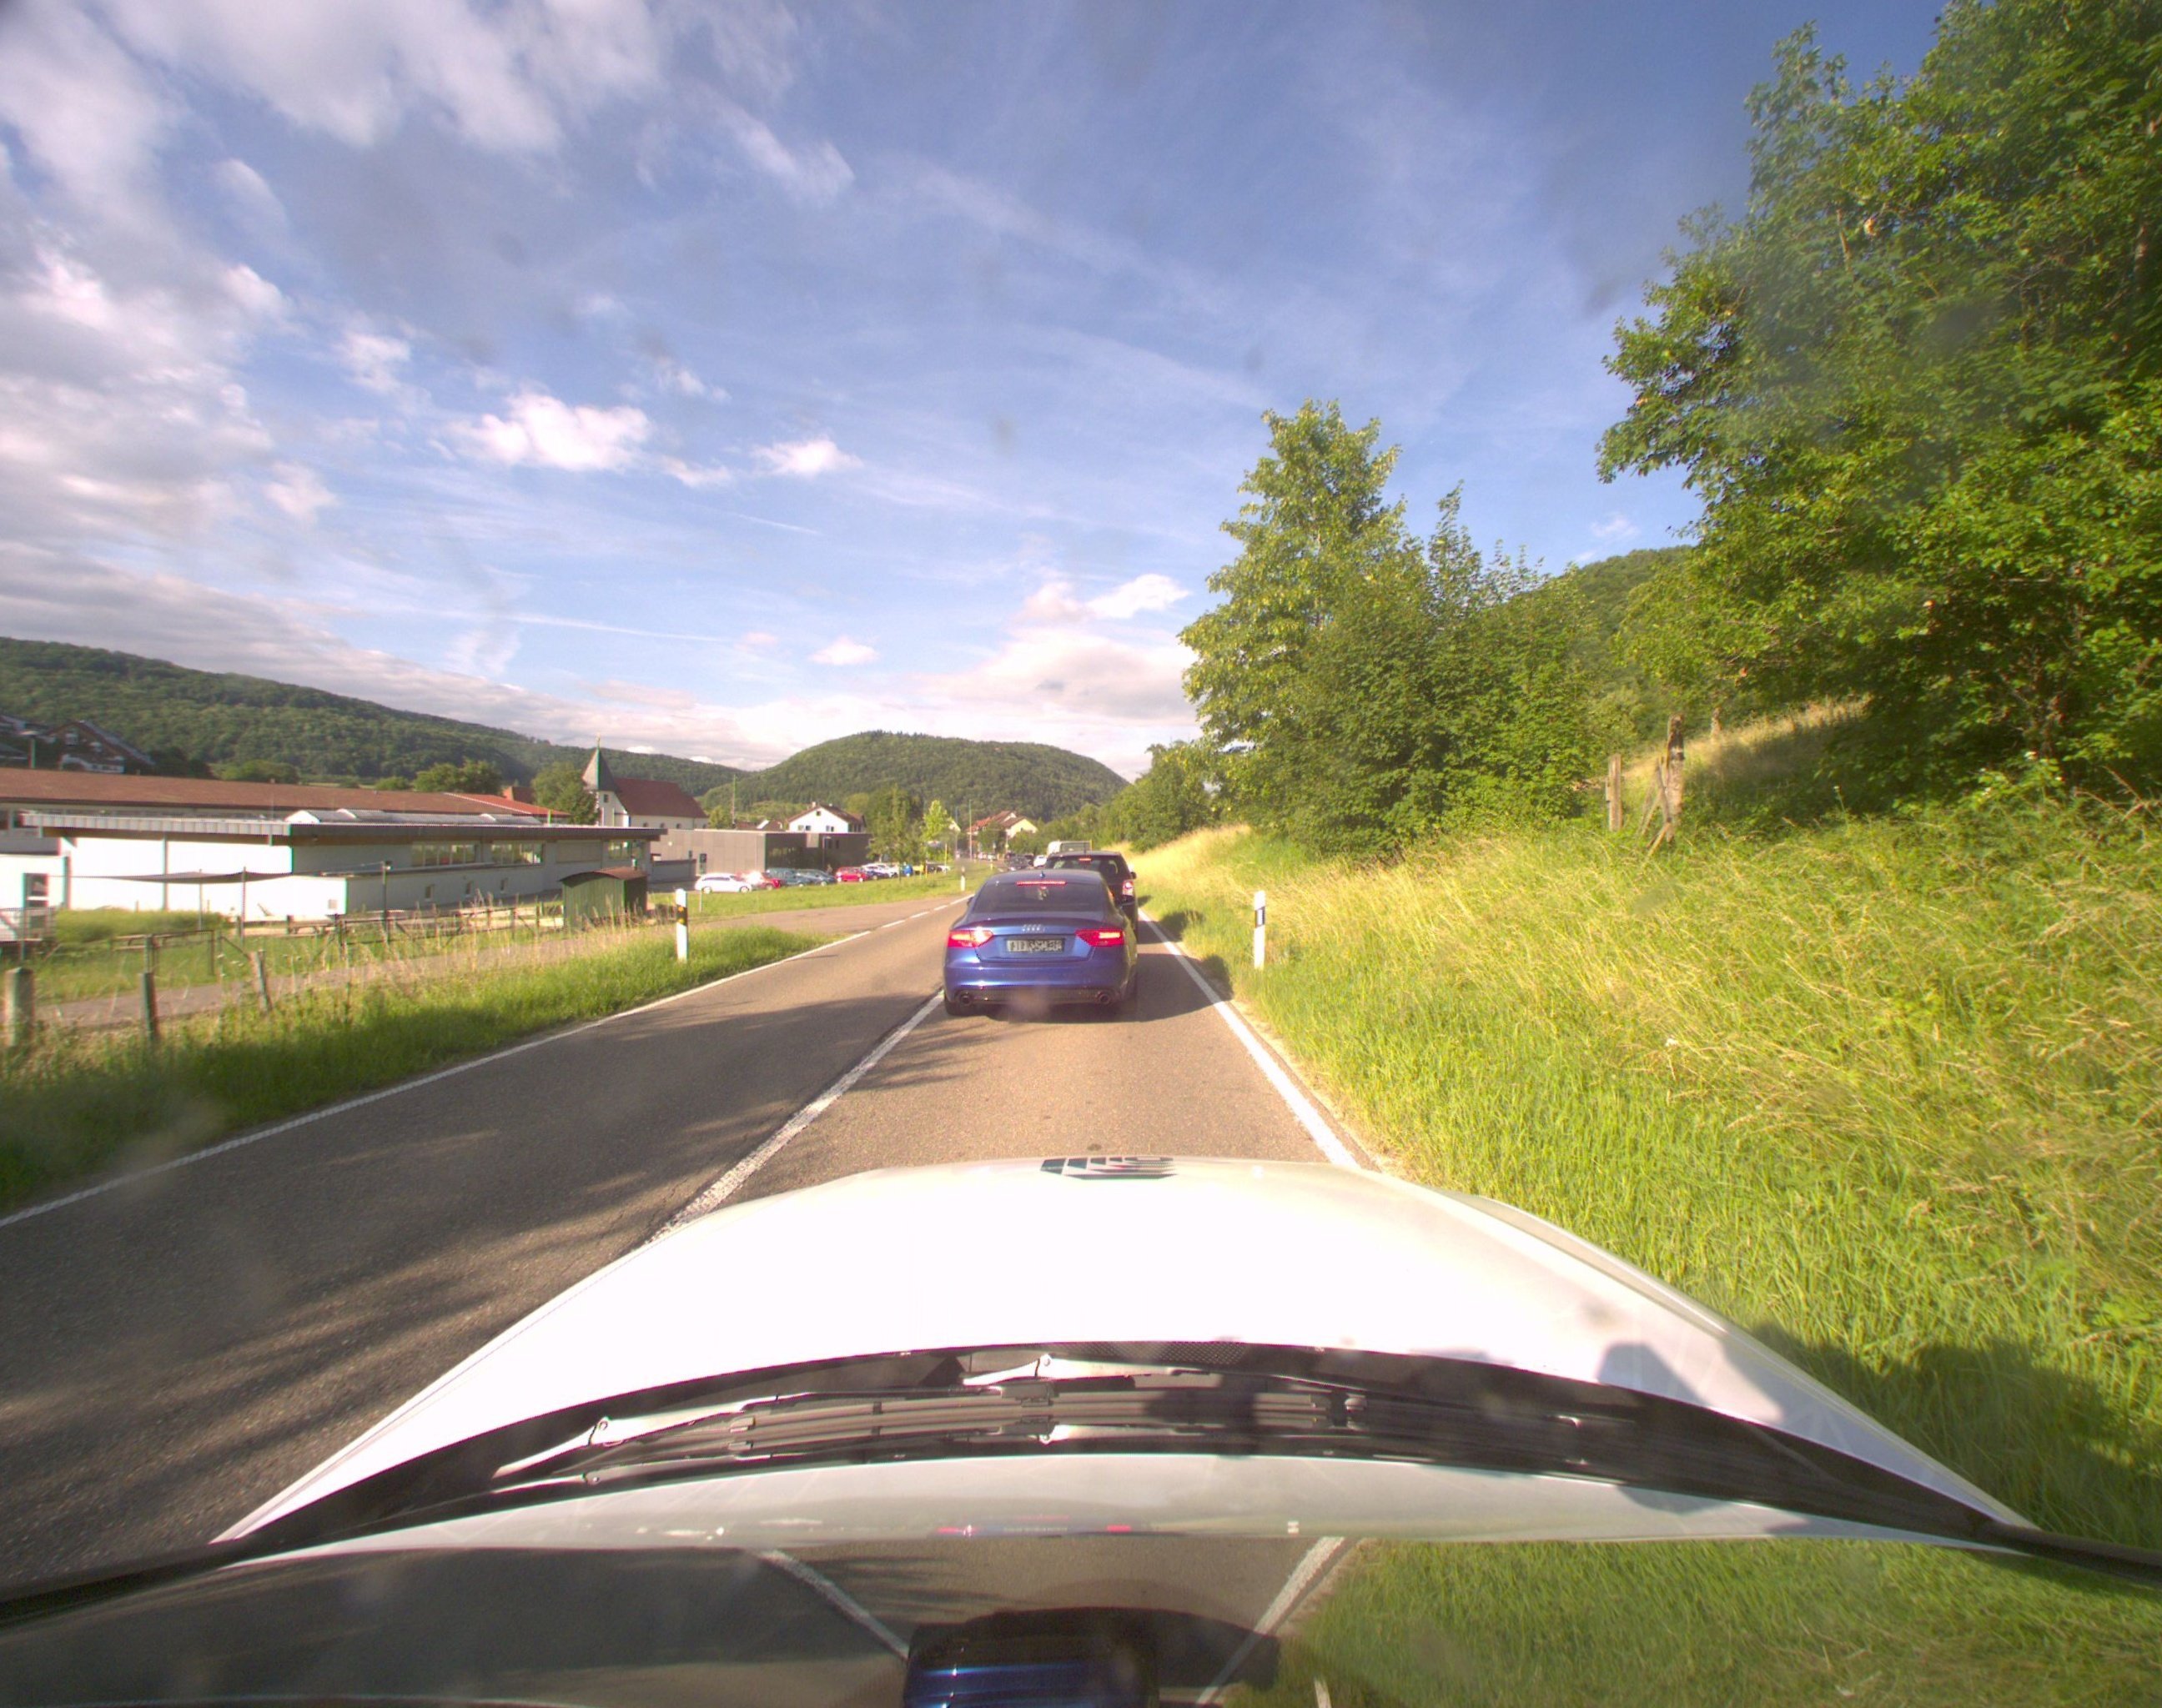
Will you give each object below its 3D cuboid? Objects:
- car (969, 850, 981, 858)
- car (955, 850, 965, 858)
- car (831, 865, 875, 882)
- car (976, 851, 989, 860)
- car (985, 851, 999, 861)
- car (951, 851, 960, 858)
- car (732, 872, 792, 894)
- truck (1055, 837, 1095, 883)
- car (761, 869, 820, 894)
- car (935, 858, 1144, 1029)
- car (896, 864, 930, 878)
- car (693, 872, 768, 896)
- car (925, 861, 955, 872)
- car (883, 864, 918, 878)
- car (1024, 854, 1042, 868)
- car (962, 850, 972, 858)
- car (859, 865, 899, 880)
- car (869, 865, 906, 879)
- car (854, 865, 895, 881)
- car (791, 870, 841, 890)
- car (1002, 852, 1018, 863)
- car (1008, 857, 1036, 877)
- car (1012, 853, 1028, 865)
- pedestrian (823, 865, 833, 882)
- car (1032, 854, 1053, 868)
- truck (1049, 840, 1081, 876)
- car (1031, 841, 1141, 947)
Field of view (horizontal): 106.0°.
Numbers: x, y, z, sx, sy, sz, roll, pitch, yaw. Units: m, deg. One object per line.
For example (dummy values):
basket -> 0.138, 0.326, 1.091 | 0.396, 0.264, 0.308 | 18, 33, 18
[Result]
car -> -22.562, 0.050, 172.832 | 1.849, 1.712, 3.978 | 0, -1, -16
car -> -28.971, 0.010, 194.414 | 1.849, 1.712, 3.978 | 0, -1, -16
car -> -23.821, 2.029, 85.212 | 3.975, 1.711, 1.999 | 0, -1, -1
car -> -19.581, 0.240, 162.048 | 1.849, 1.712, 3.978 | 0, -1, -16
car -> -16.572, 0.416, 151.336 | 1.849, 1.712, 3.979 | 0, -1, -15
car -> -31.342, 0.157, 203.434 | 1.849, 1.712, 3.978 | 0, -1, -16
car -> -25.296, 2.298, 64.646 | 3.975, 1.711, 1.999 | 0, -1, -1
truck -> -0.361, 0.359, 48.890 | 2.223, 2.570, 6.100 | 0, -1, -1
car -> -25.001, 2.345, 70.197 | 4.393, 2.008, 1.999 | 0, -1, -1
car -> -0.259, 0.769, 8.762 | 1.747, 1.430, 3.849 | 0, -1, 3
car -> -21.673, 2.188, 105.060 | 3.975, 1.711, 1.999 | 0, -1, -1
car -> -26.527, 2.282, 61.741 | 4.717, 1.711, 1.999 | 0, -1, -1
car -> -20.695, 1.803, 119.509 | 3.975, 1.579, 1.752 | 0, -1, -1
car -> -22.710, 2.173, 102.500 | 3.975, 1.711, 1.999 | 0, -1, -1
car -> -5.937, 0.865, 100.377 | 1.845, 1.712, 3.987 | 0, -1, -9
car -> -25.718, 0.066, 183.661 | 1.849, 1.712, 3.978 | 0, -1, -16
car -> -23.147, 2.096, 93.433 | 3.975, 1.711, 1.999 | 0, -1, -1
car -> -22.945, 2.124, 96.715 | 3.975, 1.711, 1.999 | 0, -1, -1
car -> -22.782, 2.061, 89.766 | 3.975, 1.711, 1.999 | 0, -1, -1
car -> -24.196, 2.377, 74.475 | 3.975, 1.711, 1.999 | 0, -1, -1
car -> -11.199, 0.598, 128.545 | 1.849, 1.712, 3.979 | 0, -1, -15
car -> -4.404, 0.967, 61.358 | 1.698, 1.430, 4.051 | 0, -1, 1
car -> -9.013, 0.722, 119.351 | 1.847, 1.712, 3.984 | 0, -1, -12
pedestrian -> -29.228, 2.250, 93.982 | 0.822, 2.014, 0.973 | 0, -1, 1
car -> -4.142, 0.735, 87.265 | 1.845, 1.482, 3.988 | 0, -1, -8
truck -> -1.301, 0.304, 61.662 | 2.225, 2.570, 6.700 | 0, -1, -3
car -> 0.171, 0.662, 15.040 | 1.747, 1.681, 3.849 | 0, -1, 3
